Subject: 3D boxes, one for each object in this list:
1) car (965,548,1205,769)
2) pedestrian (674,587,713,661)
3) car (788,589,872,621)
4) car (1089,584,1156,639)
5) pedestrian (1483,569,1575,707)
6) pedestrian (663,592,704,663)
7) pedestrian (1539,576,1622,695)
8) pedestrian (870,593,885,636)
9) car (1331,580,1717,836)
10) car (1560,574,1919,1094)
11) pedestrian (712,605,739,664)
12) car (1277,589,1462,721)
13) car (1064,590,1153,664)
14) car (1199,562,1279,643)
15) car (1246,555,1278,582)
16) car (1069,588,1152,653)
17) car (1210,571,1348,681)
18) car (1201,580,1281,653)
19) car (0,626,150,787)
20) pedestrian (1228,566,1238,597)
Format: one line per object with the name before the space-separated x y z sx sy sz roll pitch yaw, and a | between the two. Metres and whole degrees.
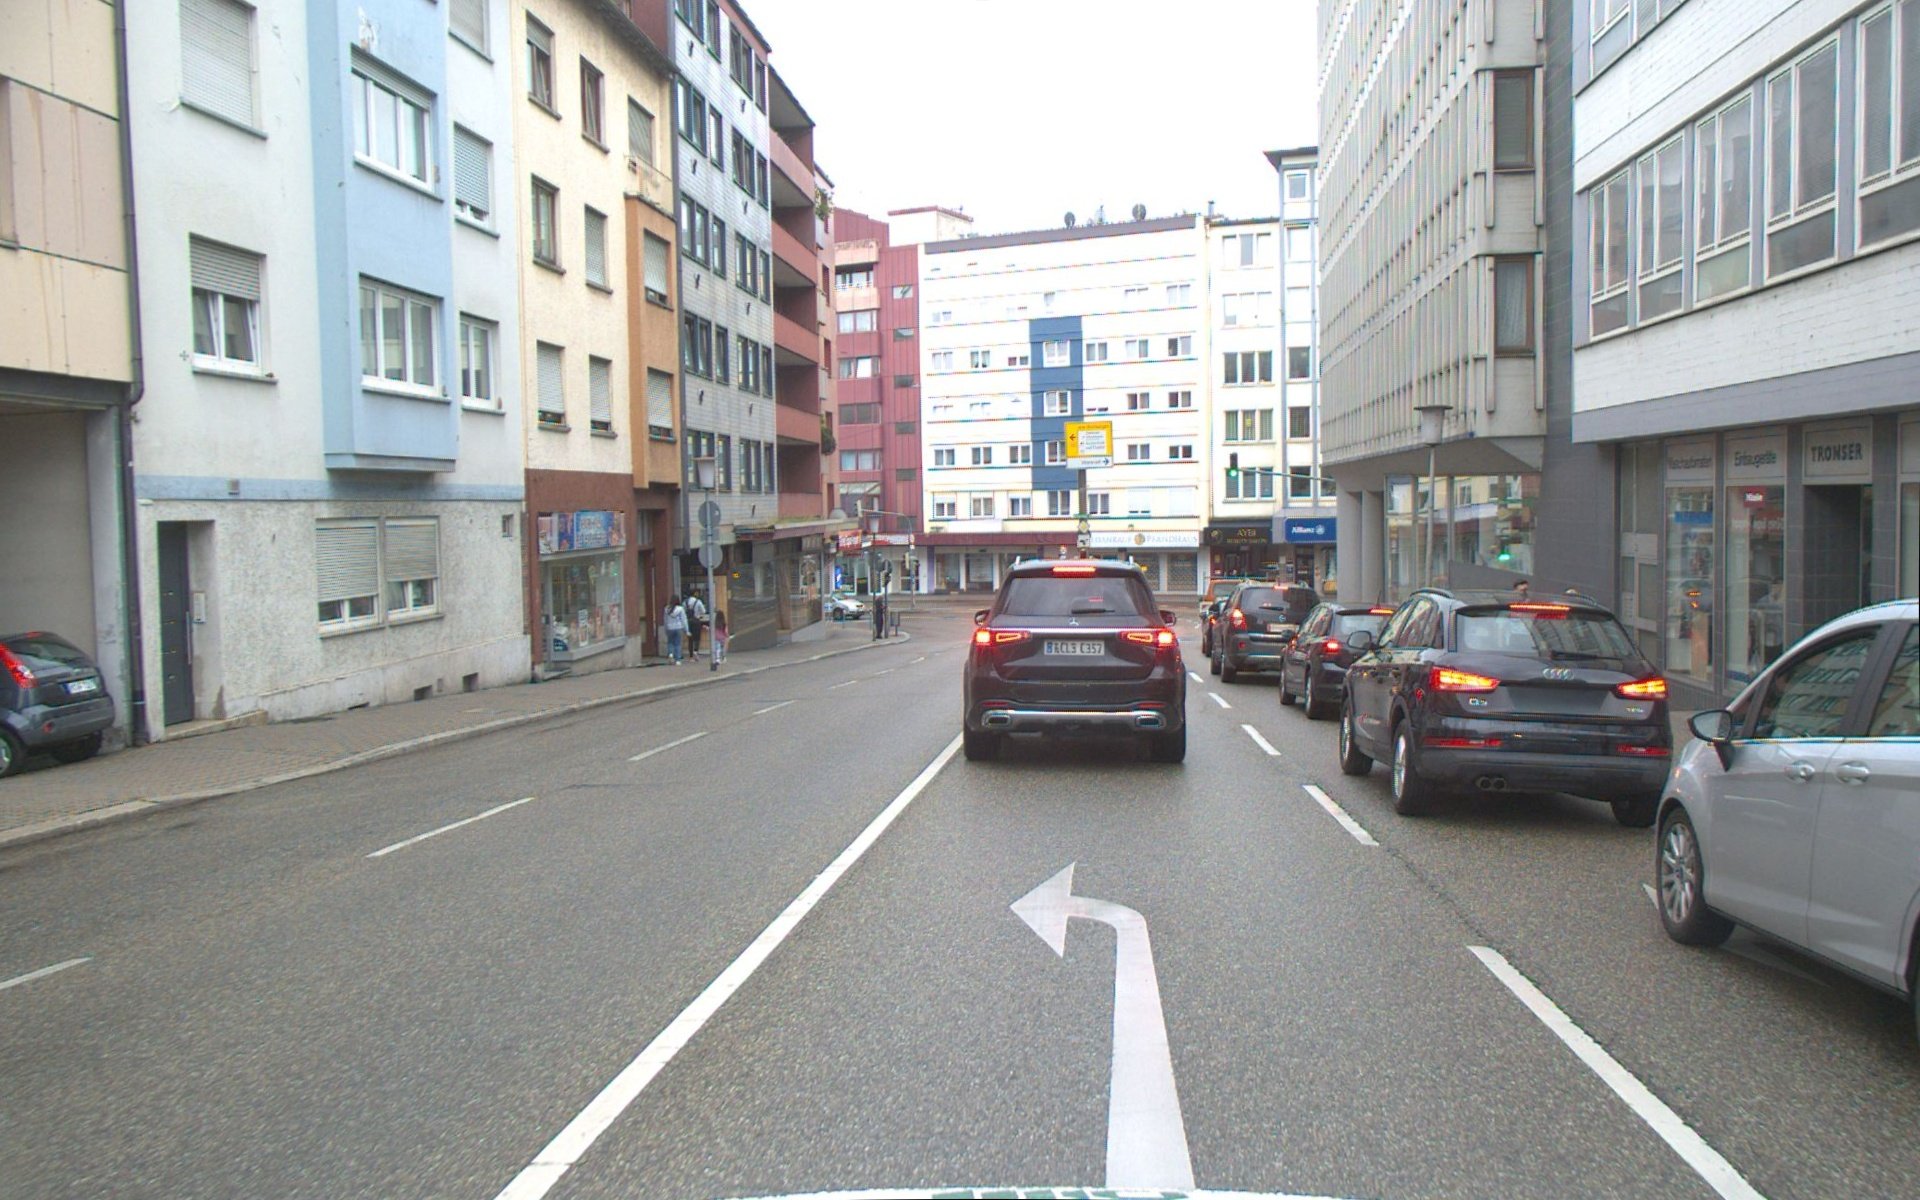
car | 1.205 0.464 16.172 1.996 1.830 4.665 0 0 4
pedestrian | -6.234 0.553 38.714 0.811 1.719 0.723 1 0 -3
car | -6.834 0.242 87.240 4.076 1.620 1.741 1 1 21
car | 4.879 0.371 49.737 1.884 1.542 4.665 1 -1 5
pedestrian | 7.548 0.490 21.982 0.767 1.735 1.121 -3 0 2
pedestrian | -6.286 0.623 37.607 0.811 1.588 0.723 1 0 -3
pedestrian | 8.582 0.485 22.900 0.749 1.578 0.891 -3 0 2
pedestrian | -3.311 0.568 66.510 0.542 1.727 0.624 -1 0 2
car | 4.098 0.690 12.758 1.785 1.587 4.204 2 0 4
car | 3.861 0.733 6.151 1.788 1.568 4.253 2 1 2
pedestrian | -5.494 0.803 38.741 0.522 1.346 0.723 1 0 -3
car | 5.269 0.645 21.750 1.653 1.503 4.002 2 1 4
car | 3.239 0.543 36.530 1.834 1.521 4.403 0 1 4
car | 8.251 0.063 49.066 2.194 2.267 5.433 1 0 9
car | 20.019 -2.058 109.513 1.759 1.699 4.003 -1 0 14
car | 3.816 0.475 41.768 1.951 1.512 4.240 -1 0 6
car | 5.527 0.400 29.169 1.858 1.724 4.508 2 1 5
car | 6.987 0.401 41.461 1.784 1.687 4.499 1 0 7
car | -10.595 1.260 16.617 3.910 1.372 1.678 -8 2 -2
pedestrian | 16.008 -1.109 97.012 0.552 1.717 0.757 -1 6 12
